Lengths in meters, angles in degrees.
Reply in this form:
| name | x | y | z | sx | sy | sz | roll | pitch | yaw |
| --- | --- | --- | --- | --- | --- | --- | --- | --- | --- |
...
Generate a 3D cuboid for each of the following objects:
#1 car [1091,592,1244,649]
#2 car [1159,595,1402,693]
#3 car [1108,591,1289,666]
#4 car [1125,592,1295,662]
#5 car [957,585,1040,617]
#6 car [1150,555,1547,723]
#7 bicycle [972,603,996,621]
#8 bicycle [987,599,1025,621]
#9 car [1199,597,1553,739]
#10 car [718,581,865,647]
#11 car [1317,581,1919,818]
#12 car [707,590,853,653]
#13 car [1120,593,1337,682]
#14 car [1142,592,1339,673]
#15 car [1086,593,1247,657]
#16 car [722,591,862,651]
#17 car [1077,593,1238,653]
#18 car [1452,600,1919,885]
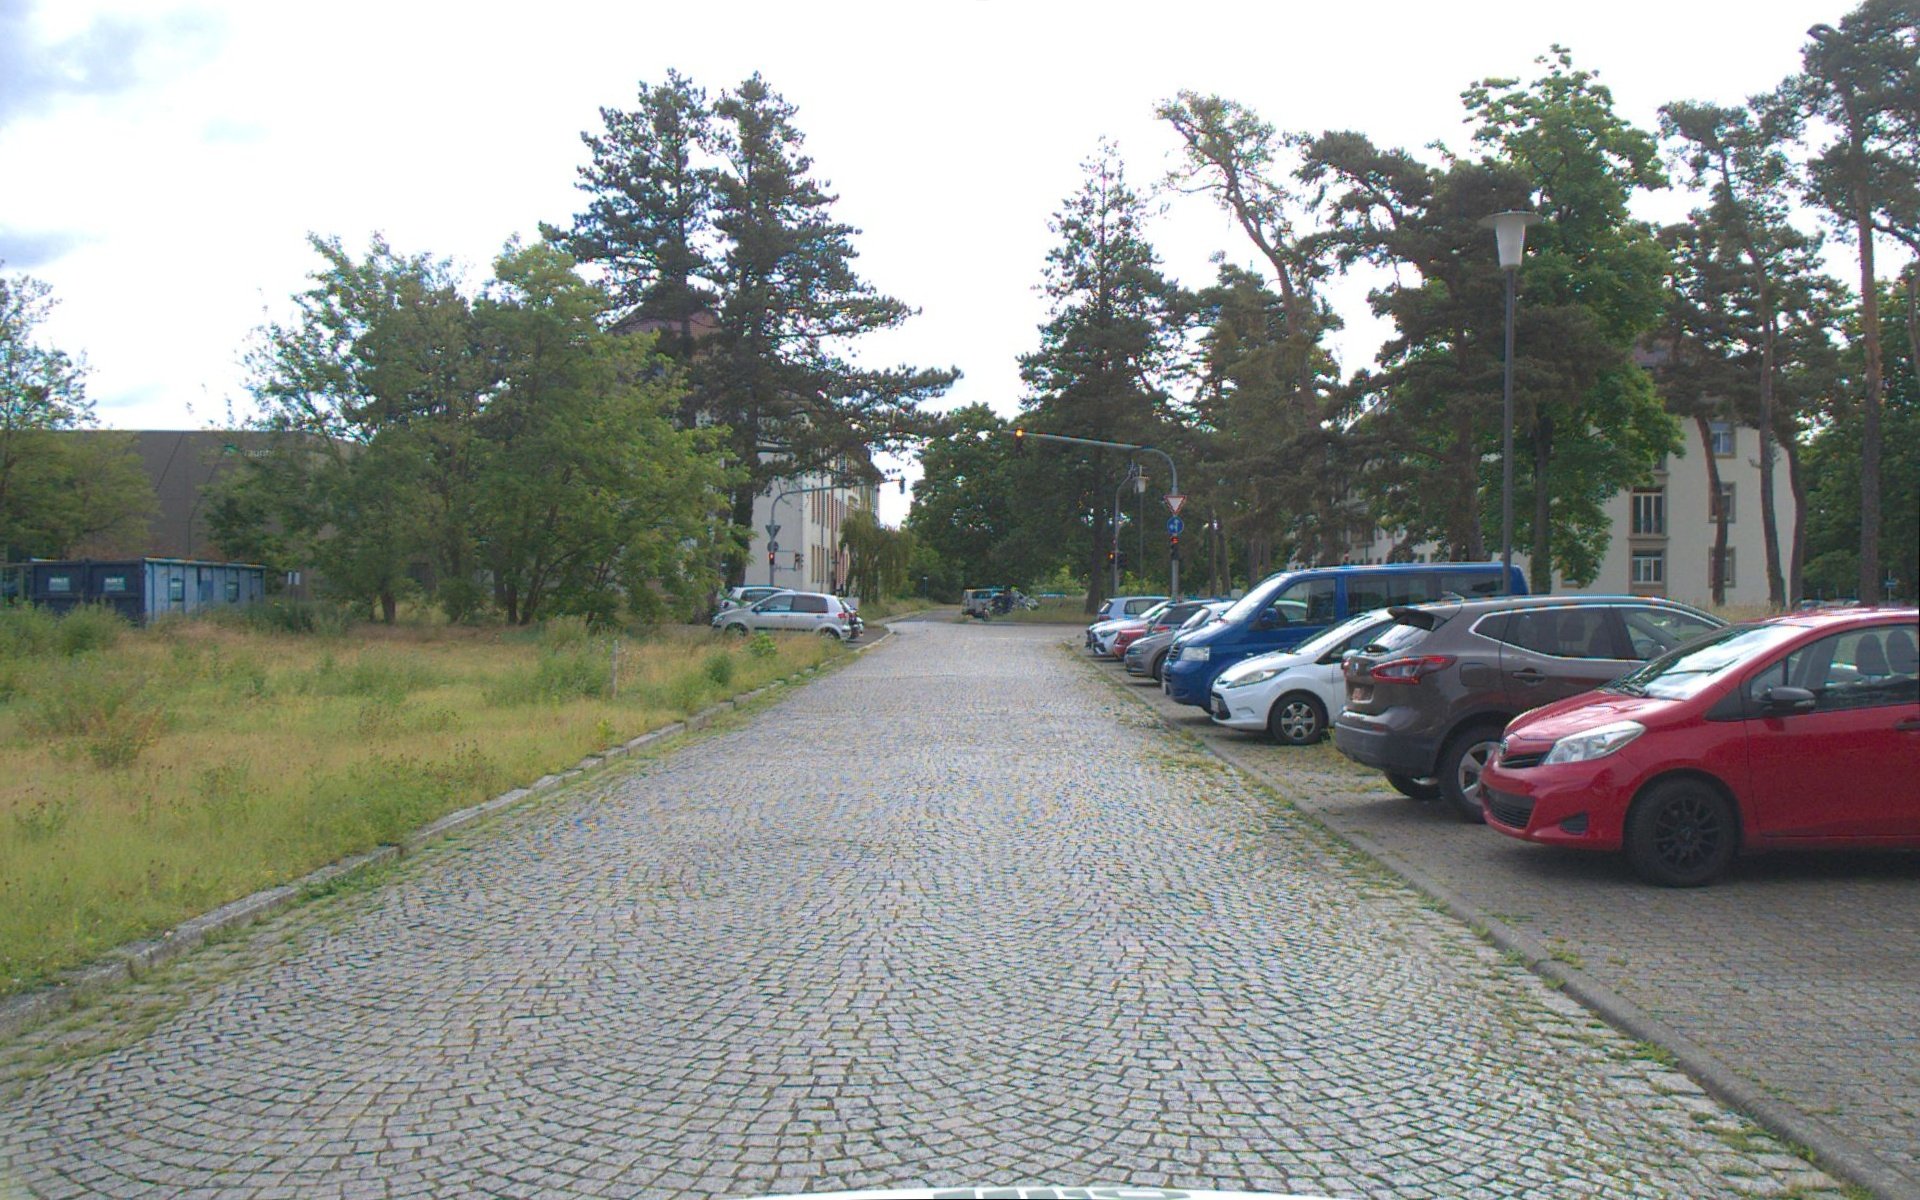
| name | x | y | z | sx | sy | sz | roll | pitch | yaw |
| --- | --- | --- | --- | --- | --- | --- | --- | --- | --- |
| car | 5.643 | 0.555 | 45.239 | 3.889 | 1.446 | 1.619 | -1 | 0 | -4 |
| car | 5.127 | 0.692 | 26.725 | 3.597 | 1.475 | 1.523 | -1 | 0 | -1 |
| car | 5.030 | 0.593 | 35.200 | 3.597 | 1.475 | 1.523 | -1 | 0 | -1 |
| car | 5.635 | 0.593 | 37.479 | 3.597 | 1.475 | 1.523 | -1 | 0 | -1 |
| car | 2.603 | 0.077 | 112.119 | 5.344 | 2.049 | 2.264 | 1 | 0 | -9 |
| car | 4.929 | 0.477 | 21.448 | 4.658 | 1.989 | 1.931 | -1 | 0 | -1 |
| bicycle | 1.282 | 0.643 | 90.149 | 0.612 | 0.961 | 1.649 | 1 | 0 | -27 |
| bicycle | 2.611 | 0.555 | 94.205 | 2.094 | 1.236 | 0.621 | 1 | 0 | -4 |
| car | 4.658 | 0.741 | 18.857 | 3.598 | 1.475 | 1.614 | -1 | 0 | -2 |
| car | -5.023 | 0.419 | 49.681 | 4.175 | 1.873 | 1.743 | -1 | 0 | 0 |
| car | 4.878 | 0.695 | 12.477 | 3.947 | 1.579 | 1.750 | -1 | 0 | -2 |
| car | -4.787 | 0.562 | 44.273 | 3.745 | 1.600 | 1.563 | -1 | 0 | -3 |
| car | 4.745 | 0.648 | 29.508 | 3.597 | 1.475 | 1.523 | -1 | 0 | -1 |
| car | 5.467 | 0.626 | 32.490 | 3.597 | 1.475 | 1.523 | -1 | 0 | -1 |
| car | 4.934 | 0.582 | 39.739 | 3.599 | 1.446 | 1.523 | -1 | 0 | -4 |
| car | -4.717 | 0.594 | 46.689 | 3.743 | 1.600 | 1.564 | -1 | 0 | 0 |
| car | 5.052 | 0.579 | 42.594 | 3.889 | 1.446 | 1.619 | -1 | 0 | -4 |
| car | 5.044 | 0.764 | 9.824 | 3.714 | 1.486 | 1.751 | -1 | 0 | 1 |
